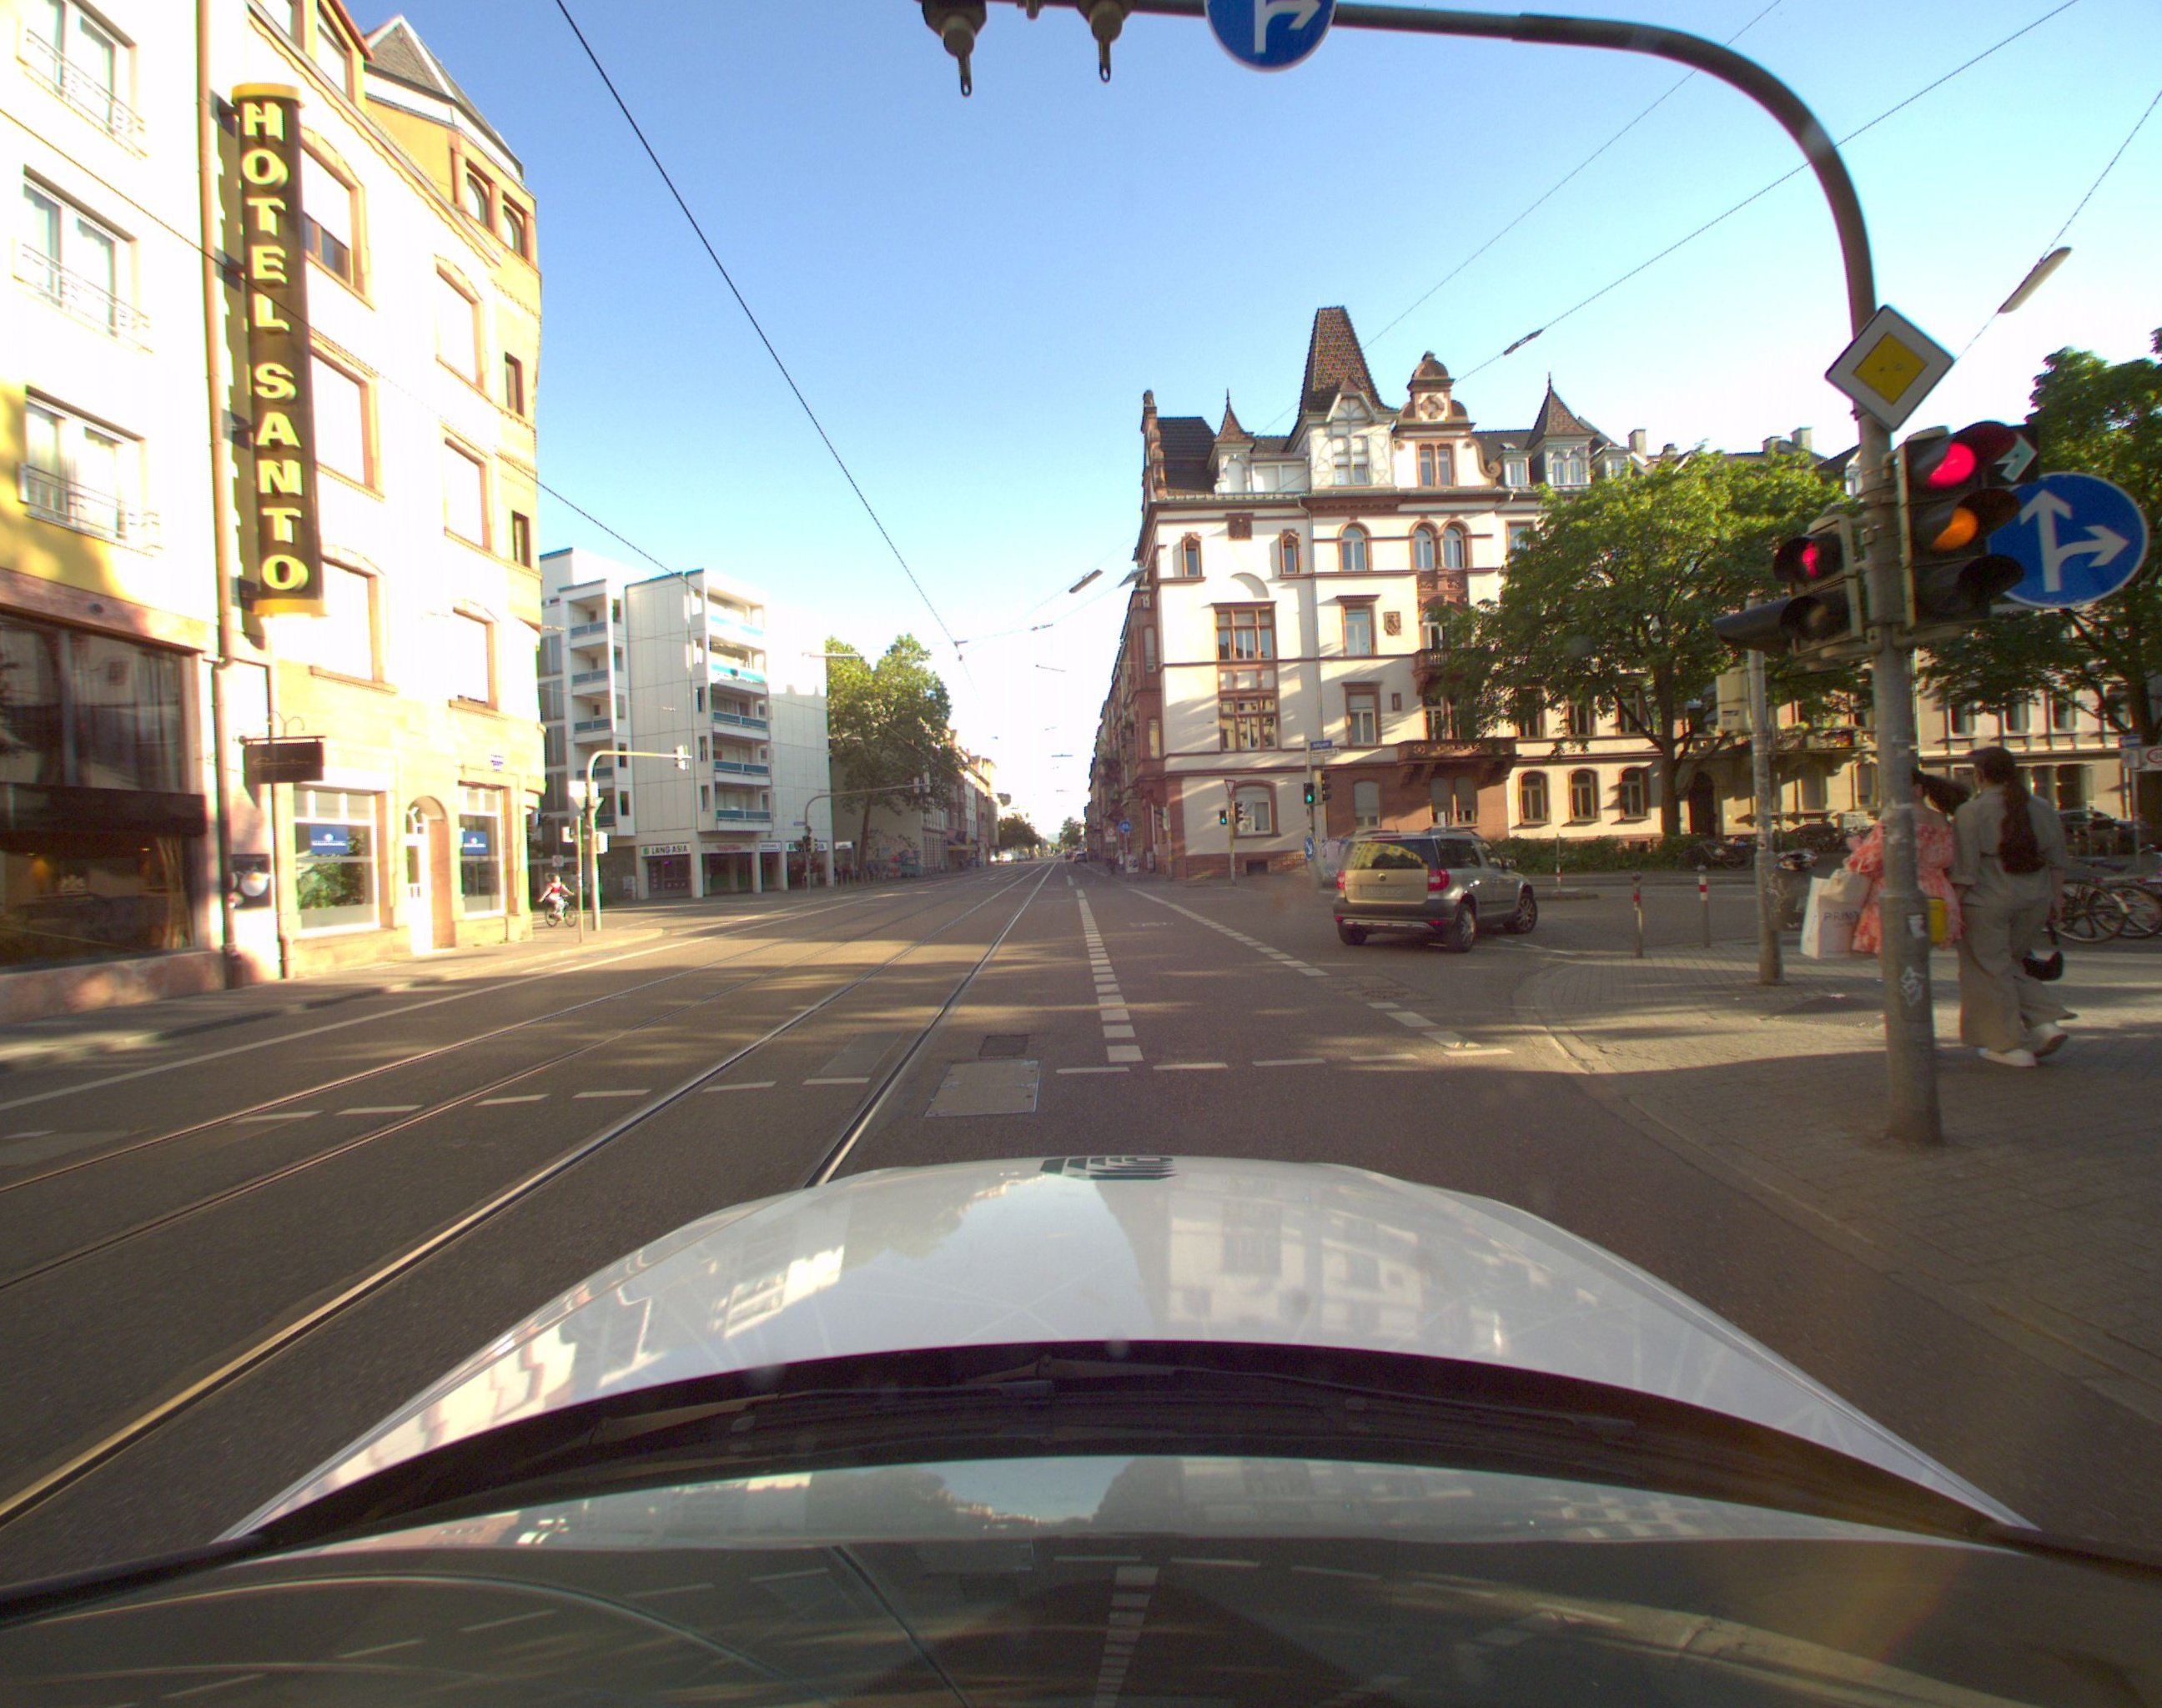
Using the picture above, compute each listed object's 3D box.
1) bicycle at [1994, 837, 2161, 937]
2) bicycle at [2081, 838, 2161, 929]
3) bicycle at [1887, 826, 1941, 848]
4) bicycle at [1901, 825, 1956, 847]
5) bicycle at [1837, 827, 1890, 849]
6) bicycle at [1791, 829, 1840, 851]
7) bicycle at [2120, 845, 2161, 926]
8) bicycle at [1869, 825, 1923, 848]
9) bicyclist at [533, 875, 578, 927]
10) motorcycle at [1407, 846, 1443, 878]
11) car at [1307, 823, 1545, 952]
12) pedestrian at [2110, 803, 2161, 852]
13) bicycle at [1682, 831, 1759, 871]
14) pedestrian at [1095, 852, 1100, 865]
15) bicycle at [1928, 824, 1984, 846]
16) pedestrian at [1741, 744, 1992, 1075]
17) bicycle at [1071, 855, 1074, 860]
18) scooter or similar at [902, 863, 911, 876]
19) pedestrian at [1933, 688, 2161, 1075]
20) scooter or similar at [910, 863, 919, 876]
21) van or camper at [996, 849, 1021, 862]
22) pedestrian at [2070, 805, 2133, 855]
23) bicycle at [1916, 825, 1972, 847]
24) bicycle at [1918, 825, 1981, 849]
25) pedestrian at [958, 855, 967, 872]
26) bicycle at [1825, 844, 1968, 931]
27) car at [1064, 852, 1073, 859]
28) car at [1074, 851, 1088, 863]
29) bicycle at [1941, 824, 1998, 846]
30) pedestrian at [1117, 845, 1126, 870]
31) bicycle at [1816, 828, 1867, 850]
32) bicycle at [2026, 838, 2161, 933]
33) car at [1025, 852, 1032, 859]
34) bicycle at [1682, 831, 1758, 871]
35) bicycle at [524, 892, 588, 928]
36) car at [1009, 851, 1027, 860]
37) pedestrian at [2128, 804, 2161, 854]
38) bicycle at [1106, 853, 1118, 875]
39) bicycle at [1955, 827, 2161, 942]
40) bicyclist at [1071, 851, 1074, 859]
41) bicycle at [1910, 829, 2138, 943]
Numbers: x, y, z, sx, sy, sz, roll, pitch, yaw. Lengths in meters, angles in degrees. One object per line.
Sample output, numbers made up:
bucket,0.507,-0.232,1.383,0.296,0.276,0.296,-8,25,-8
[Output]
bicycle,12.239,0.385,9.911,0.447,1.111,1.612,-3,-2,3
bicycle,13.333,0.347,9.711,0.447,1.099,1.922,-3,-2,3
bicycle,35.728,-0.722,34.952,0.490,0.893,1.798,-3,0,1
bicycle,36.400,-0.749,34.996,0.490,0.893,1.798,-3,0,1
bicycle,33.273,-0.677,34.656,0.490,0.893,1.798,-3,0,1
bicycle,31.323,-0.600,34.764,0.490,0.893,1.798,-3,0,1
bicycle,13.802,0.379,9.680,0.447,1.000,1.922,-3,-2,3
bicycle,34.775,-0.734,34.784,0.490,0.893,1.798,-3,0,1
bicyclist,-17.492,1.561,27.108,0.979,1.643,0.707,-3,-1,17
motorcycle,12.863,0.274,30.527,0.715,1.020,2.294,-3,2,10
car,5.334,0.415,12.325,1.975,1.618,4.023,0,0,45
pedestrian,33.211,-0.832,25.491,0.903,1.428,0.770,-7,-2,31
bicycle,19.890,-0.086,25.372,1.840,1.161,0.563,-3,1,36
pedestrian,2.210,0.575,108.748,0.543,1.780,0.749,-3,0,-1
bicycle,37.596,-0.796,35.031,0.490,0.893,1.798,-3,0,1
pedestrian,4.674,0.313,4.927,0.797,1.799,0.766,-6,1,31
bicycle,-1.631,0.689,161.237,0.573,1.030,1.895,-3,0,0
scooter or similar,-15.155,1.365,70.819,0.515,1.045,1.477,-3,0,-3
pedestrian,5.271,0.129,4.457,0.674,1.908,0.684,-7,1,-42
scooter or similar,-14.505,1.334,70.875,0.515,1.057,1.477,-3,0,-3
van or camper,-15.088,0.362,169.857,4.667,2.563,1.980,-2,-1,-32
pedestrian,31.656,-0.738,25.283,0.903,1.428,0.770,-7,-2,32
bicycle,37.072,-0.775,35.022,0.490,0.893,1.798,-3,0,1
bicycle,35.901,-0.699,33.690,1.779,0.893,0.495,-3,0,13
pedestrian,-12.491,0.987,85.855,0.699,1.728,0.647,-3,0,-2
bicycle,10.502,0.423,10.538,0.773,1.045,1.065,-3,-2,8
car,-3.067,0.416,200.424,1.988,1.728,3.997,-2,0,-2
car,0.021,0.426,120.133,1.944,1.684,3.999,-3,0,0
bicycle,38.259,-0.822,35.083,0.490,0.893,1.798,-3,0,1
pedestrian,2.989,0.249,60.504,0.543,1.780,0.504,-3,0,-1
bicycle,32.393,-0.643,34.709,0.490,0.893,1.798,-3,0,1
bicycle,12.751,0.371,9.840,0.447,1.099,1.922,-3,-2,3
car,-14.922,0.483,231.820,1.988,2.013,3.997,-3,0,-2
bicycle,20.255,-0.097,25.855,1.840,1.161,0.563,-3,1,36
bicycle,-17.468,1.867,27.107,1.876,1.109,0.702,-3,0,18
car,-15.787,0.277,205.016,4.008,2.013,1.983,-3,0,-26
pedestrian,32.545,-0.778,24.534,0.903,1.428,0.770,-7,-2,32
bicycle,1.932,0.626,50.841,0.651,1.323,2.177,-3,0,1
bicycle,11.720,0.348,9.754,0.447,1.223,1.922,-3,-2,3
bicyclist,-1.655,0.233,161.234,0.573,1.554,0.595,-3,0,0
bicycle,11.205,0.368,9.795,0.502,1.223,1.922,-3,-2,3
